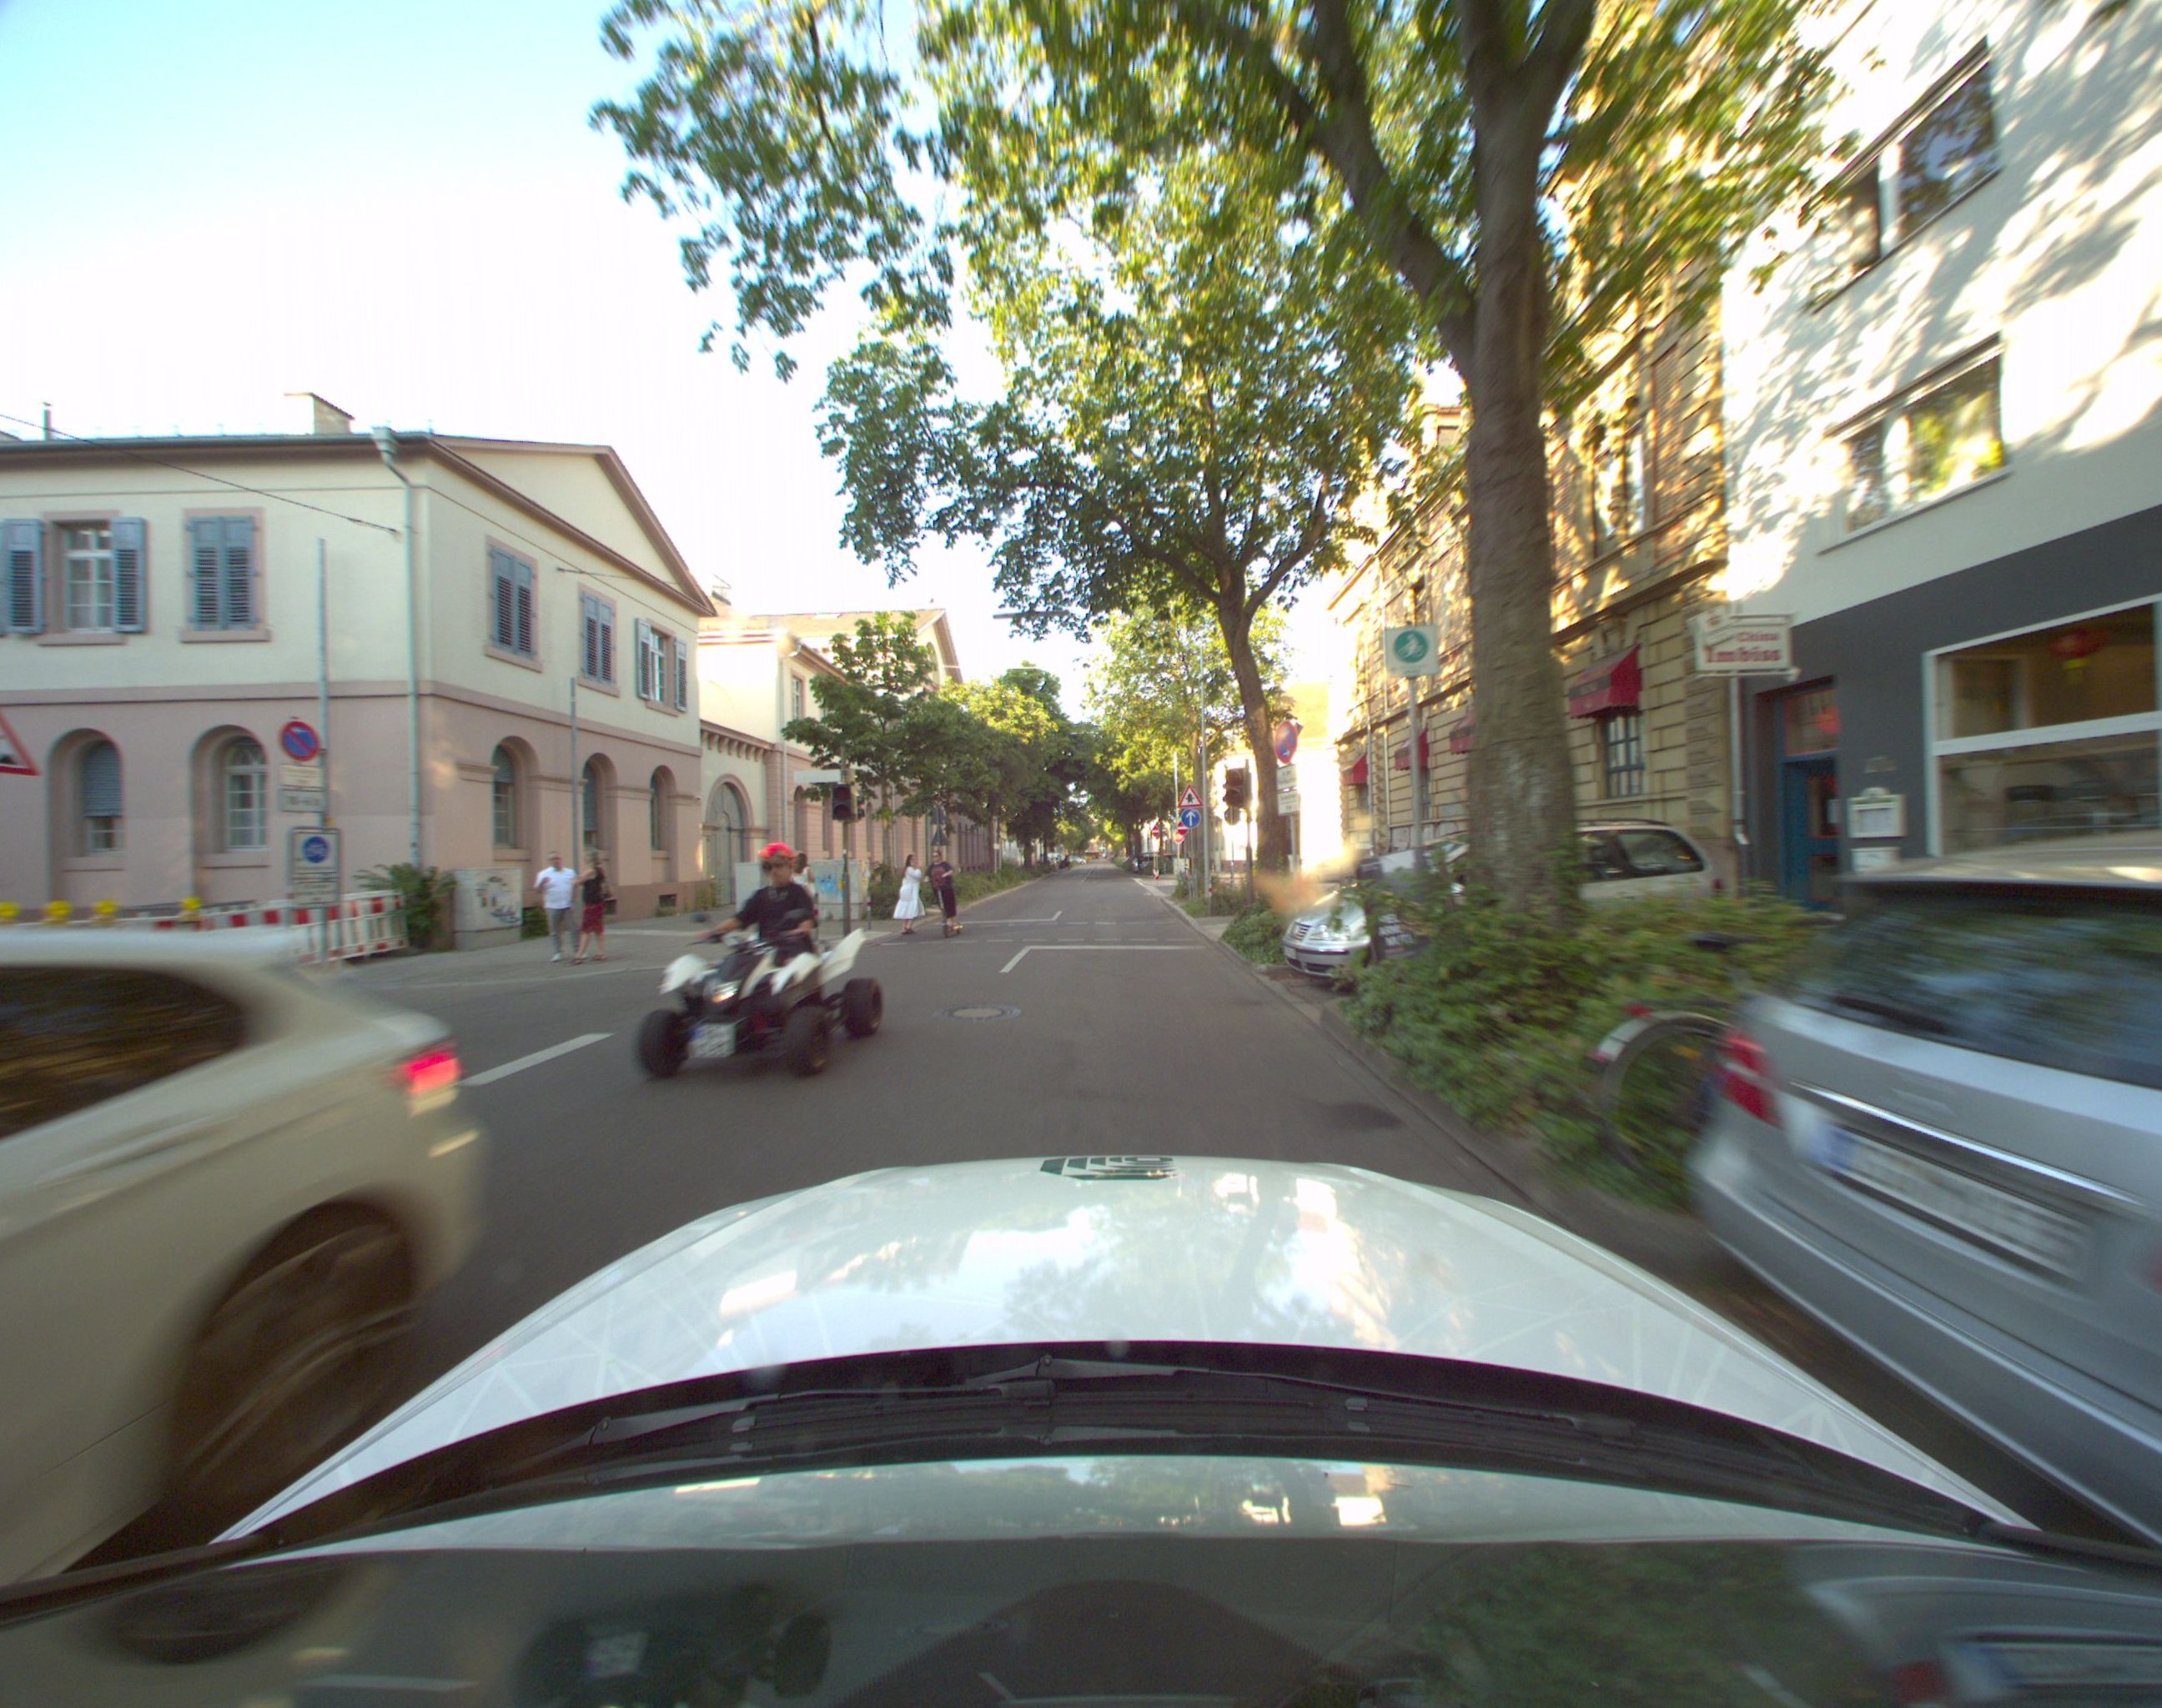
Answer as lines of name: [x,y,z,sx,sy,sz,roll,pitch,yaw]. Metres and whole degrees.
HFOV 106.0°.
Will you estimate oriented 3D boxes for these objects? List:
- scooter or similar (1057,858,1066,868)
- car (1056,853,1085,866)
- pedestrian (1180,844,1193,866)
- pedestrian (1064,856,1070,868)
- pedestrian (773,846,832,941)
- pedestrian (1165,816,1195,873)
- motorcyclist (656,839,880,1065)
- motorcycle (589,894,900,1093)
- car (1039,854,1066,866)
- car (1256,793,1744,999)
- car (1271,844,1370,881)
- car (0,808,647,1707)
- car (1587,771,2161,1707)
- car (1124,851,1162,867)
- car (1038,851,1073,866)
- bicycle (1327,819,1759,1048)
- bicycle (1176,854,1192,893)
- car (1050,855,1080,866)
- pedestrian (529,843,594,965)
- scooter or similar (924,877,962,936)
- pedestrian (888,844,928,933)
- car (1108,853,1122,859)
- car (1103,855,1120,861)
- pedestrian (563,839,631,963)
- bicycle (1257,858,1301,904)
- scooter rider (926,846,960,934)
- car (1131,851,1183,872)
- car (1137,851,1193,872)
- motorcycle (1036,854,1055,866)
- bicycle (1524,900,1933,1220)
scooter or similar: [-2.141,1.011,90.669,0.891,1.089,0.847,-1,0,8]
car: [-1.907,0.991,147.413,5.043,2.083,2.265,-2,0,3]
pedestrian: [8.415,0.060,65.058,0.939,1.706,0.783,-2,1,3]
pedestrian: [-1.504,0.898,89.899,0.652,1.395,0.607,0,-1,1]
pedestrian: [-5.465,0.748,16.005,0.785,1.791,0.774,1,1,13]
pedestrian: [3.797,-0.348,31.328,1.039,2.146,1.064,0,-1,2]
motorcyclist: [-2.379,0.703,6.374,1.275,1.592,1.077,-2,0,1]
motorcycle: [-2.368,0.928,6.275,1.307,1.090,2.397,-2,0,2]
car: [-4.077,0.856,116.587,3.716,1.508,1.871,-2,0,-2]
car: [4.499,0.423,9.279,4.527,1.914,1.949,-2,0,-1]
car: [11.594,0.412,39.663,4.319,1.654,1.888,-1,0,4]
car: [-2.732,0.735,0.948,1.868,1.549,4.280,-2,0,4]
car: [3.782,0.568,1.676,4.205,1.560,1.973,-2,0,4]
car: [6.735,0.550,88.880,4.001,1.623,1.780,-2,0,0]
car: [-3.754,0.712,121.979,5.046,2.083,2.263,-2,0,1]
bicycle: [3.590,0.585,6.444,3.106,1.663,0.658,-1,0,-3]
bicycle: [3.857,0.716,30.452,0.414,1.372,1.293,-2,0,13]
car: [-2.807,1.162,142.030,5.041,1.617,2.266,-2,0,4]
pedestrian: [-8.116,0.762,12.740,0.550,1.850,0.614,-2,0,15]
scooter or similar: [-2.883,1.083,17.119,0.500,1.145,1.250,-2,-1,2]
pedestrian: [-3.785,0.745,17.881,0.768,1.888,0.790,-1,0,-10]
car: [10.668,0.606,254.182,3.964,1.838,2.005,-1,0,8]
car: [7.017,0.922,187.054,3.974,1.442,1.696,-2,0,-1]
pedestrian: [-7.459,0.712,12.568,0.550,1.850,0.614,-2,1,16]
bicycle: [5.266,0.688,21.800,0.522,1.152,2.247,-2,0,-2]
scooter rider: [-2.890,0.749,17.098,0.492,1.791,0.875,-2,-1,2]
car: [6.287,0.597,67.858,4.177,1.480,1.853,-3,0,1]
car: [6.482,0.542,63.069,4.094,1.490,1.850,-1,1,0]
motorcycle: [-3.776,0.620,86.770,1.912,1.258,0.591,-2,0,1]
bicycle: [2.741,0.846,3.528,1.332,1.204,0.488,-3,0,0]
